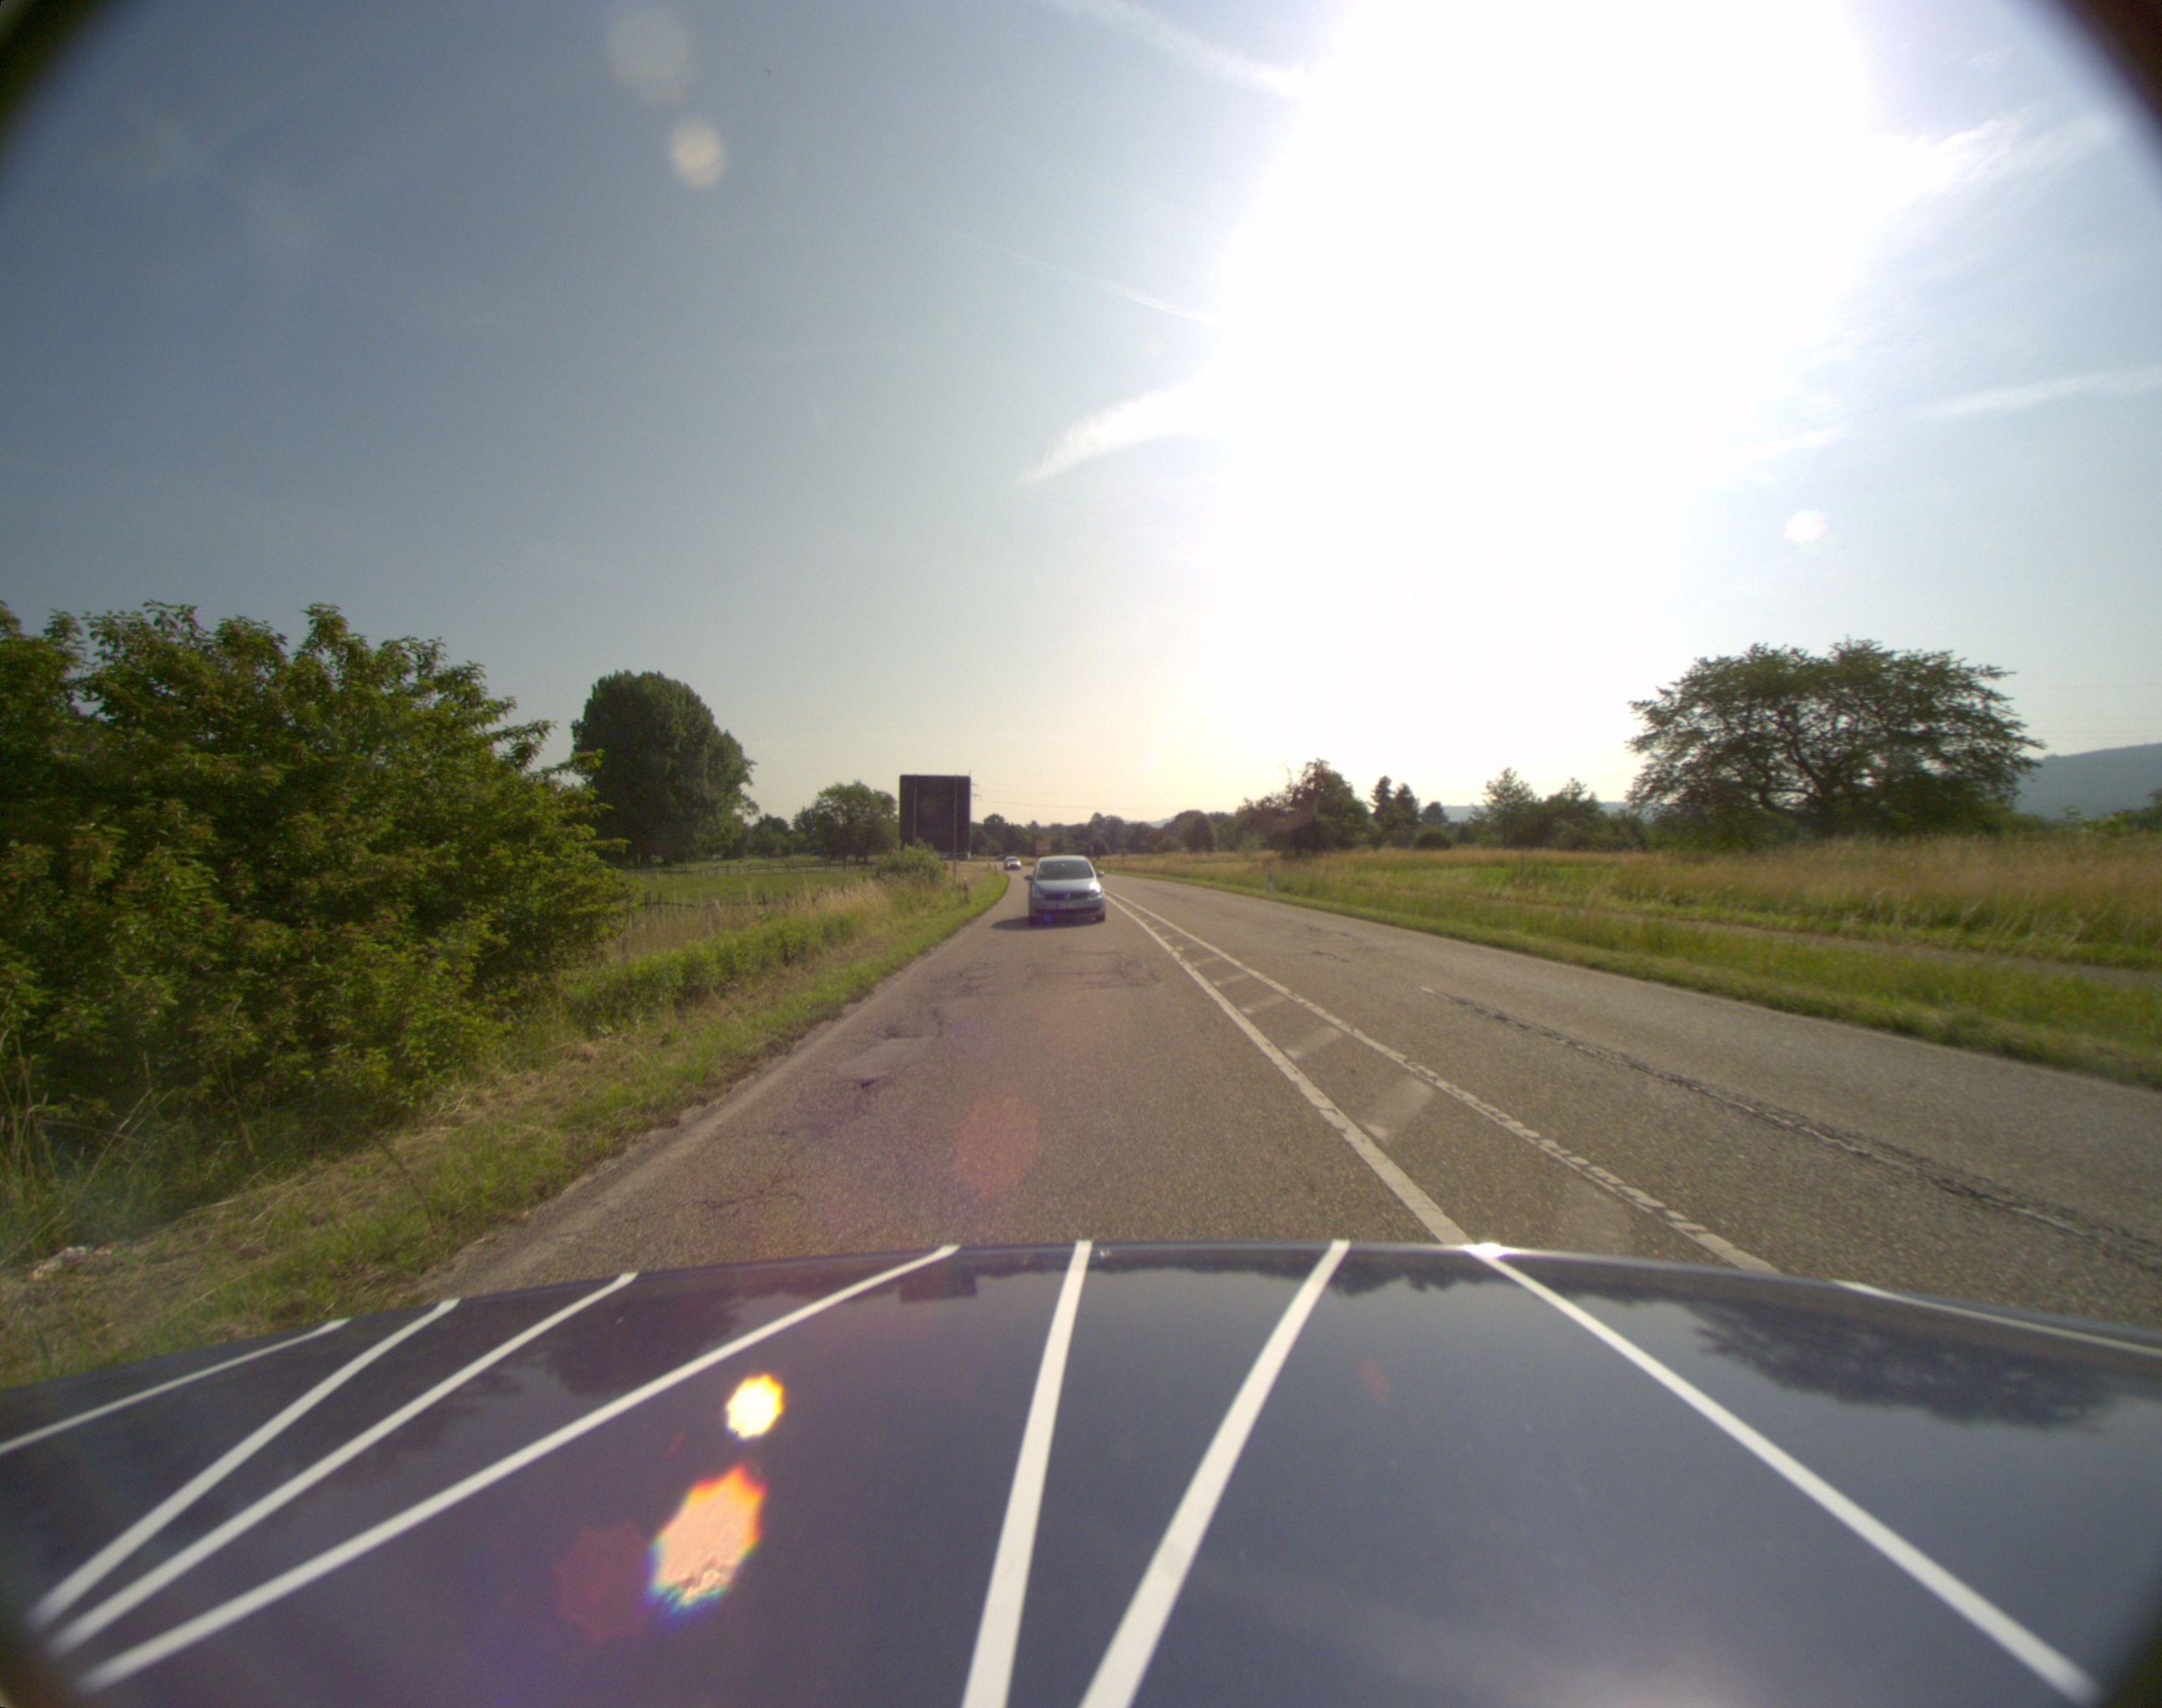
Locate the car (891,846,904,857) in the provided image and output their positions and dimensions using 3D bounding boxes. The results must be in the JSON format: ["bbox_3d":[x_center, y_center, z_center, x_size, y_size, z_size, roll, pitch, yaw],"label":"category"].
[{"bbox_3d":[-46.956,-0.569,194.193,2.134,2.680,5.256,-1,1,-26],"label":"car"}]

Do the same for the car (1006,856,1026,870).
[{"bbox_3d":[-7.874,1.043,91.993,2.000,1.570,3.905,-1,0,-11],"label":"car"}]

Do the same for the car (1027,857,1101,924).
[{"bbox_3d":[-0.428,0.876,20.107,1.718,1.495,4.093,-2,0,-1],"label":"car"}]

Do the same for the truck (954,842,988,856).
[{"bbox_3d":[-24.240,-1.063,167.789,7.364,3.028,2.582,-1,1,-7],"label":"truck"}]
